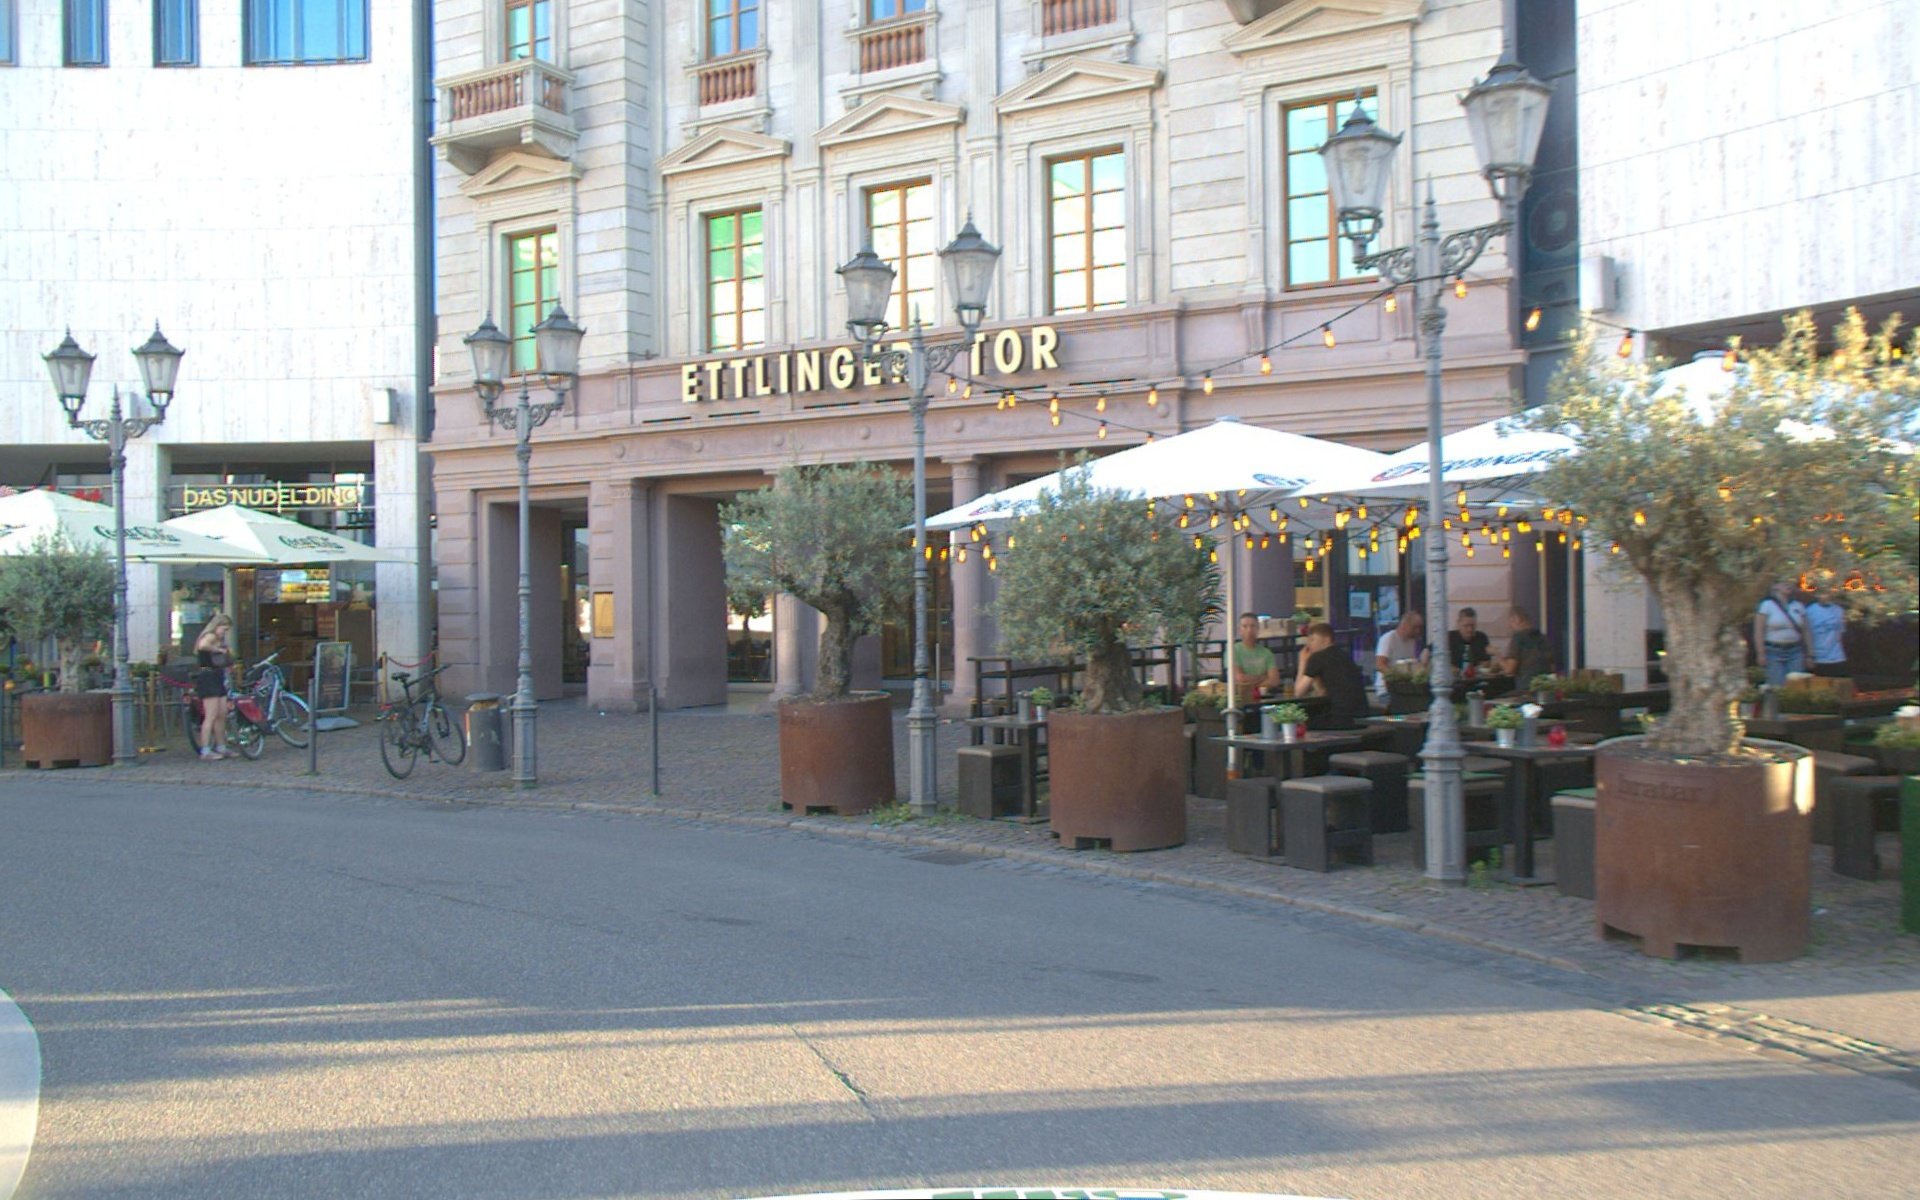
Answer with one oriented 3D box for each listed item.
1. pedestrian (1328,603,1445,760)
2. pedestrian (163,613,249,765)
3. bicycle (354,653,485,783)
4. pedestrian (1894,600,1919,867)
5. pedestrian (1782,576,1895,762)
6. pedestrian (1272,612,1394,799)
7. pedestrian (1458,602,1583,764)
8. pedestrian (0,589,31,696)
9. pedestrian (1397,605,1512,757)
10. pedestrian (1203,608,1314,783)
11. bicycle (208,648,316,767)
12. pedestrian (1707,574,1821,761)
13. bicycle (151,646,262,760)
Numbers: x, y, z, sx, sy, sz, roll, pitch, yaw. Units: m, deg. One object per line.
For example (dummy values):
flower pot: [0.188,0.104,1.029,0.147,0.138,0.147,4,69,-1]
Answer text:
pedestrian: [4.171,0.778,16.222,0.760,1.473,0.848,-1,-1,-18]
pedestrian: [-8.261,0.958,18.146,0.735,1.616,0.712,0,-1,-14]
bicycle: [-5.533,1.178,17.047,0.592,1.147,1.907,-1,1,4]
pedestrian: [5.660,0.728,8.904,0.707,1.473,0.864,-1,-1,-8]
pedestrian: [8.880,0.684,16.744,0.712,1.834,0.850,-1,-1,5]
pedestrian: [3.062,0.841,13.637,0.707,1.473,0.864,-1,-1,-8]
pedestrian: [5.298,0.765,15.668,0.760,1.473,0.849,-1,-1,-17]
pedestrian: [-17.234,0.756,29.708,0.700,1.895,0.670,-1,-1,5]
pedestrian: [4.950,0.790,16.588,0.760,1.473,0.849,-1,-1,-17]
pedestrian: [2.602,0.811,14.504,0.707,1.473,0.864,-1,-1,-8]
bicycle: [-7.827,1.176,18.617,0.594,1.147,1.903,-1,1,-7]
pedestrian: [8.132,0.665,16.772,0.711,1.834,0.982,-1,-1,5]
bicycle: [-8.679,1.156,19.120,0.594,1.147,1.903,-1,1,-7]
